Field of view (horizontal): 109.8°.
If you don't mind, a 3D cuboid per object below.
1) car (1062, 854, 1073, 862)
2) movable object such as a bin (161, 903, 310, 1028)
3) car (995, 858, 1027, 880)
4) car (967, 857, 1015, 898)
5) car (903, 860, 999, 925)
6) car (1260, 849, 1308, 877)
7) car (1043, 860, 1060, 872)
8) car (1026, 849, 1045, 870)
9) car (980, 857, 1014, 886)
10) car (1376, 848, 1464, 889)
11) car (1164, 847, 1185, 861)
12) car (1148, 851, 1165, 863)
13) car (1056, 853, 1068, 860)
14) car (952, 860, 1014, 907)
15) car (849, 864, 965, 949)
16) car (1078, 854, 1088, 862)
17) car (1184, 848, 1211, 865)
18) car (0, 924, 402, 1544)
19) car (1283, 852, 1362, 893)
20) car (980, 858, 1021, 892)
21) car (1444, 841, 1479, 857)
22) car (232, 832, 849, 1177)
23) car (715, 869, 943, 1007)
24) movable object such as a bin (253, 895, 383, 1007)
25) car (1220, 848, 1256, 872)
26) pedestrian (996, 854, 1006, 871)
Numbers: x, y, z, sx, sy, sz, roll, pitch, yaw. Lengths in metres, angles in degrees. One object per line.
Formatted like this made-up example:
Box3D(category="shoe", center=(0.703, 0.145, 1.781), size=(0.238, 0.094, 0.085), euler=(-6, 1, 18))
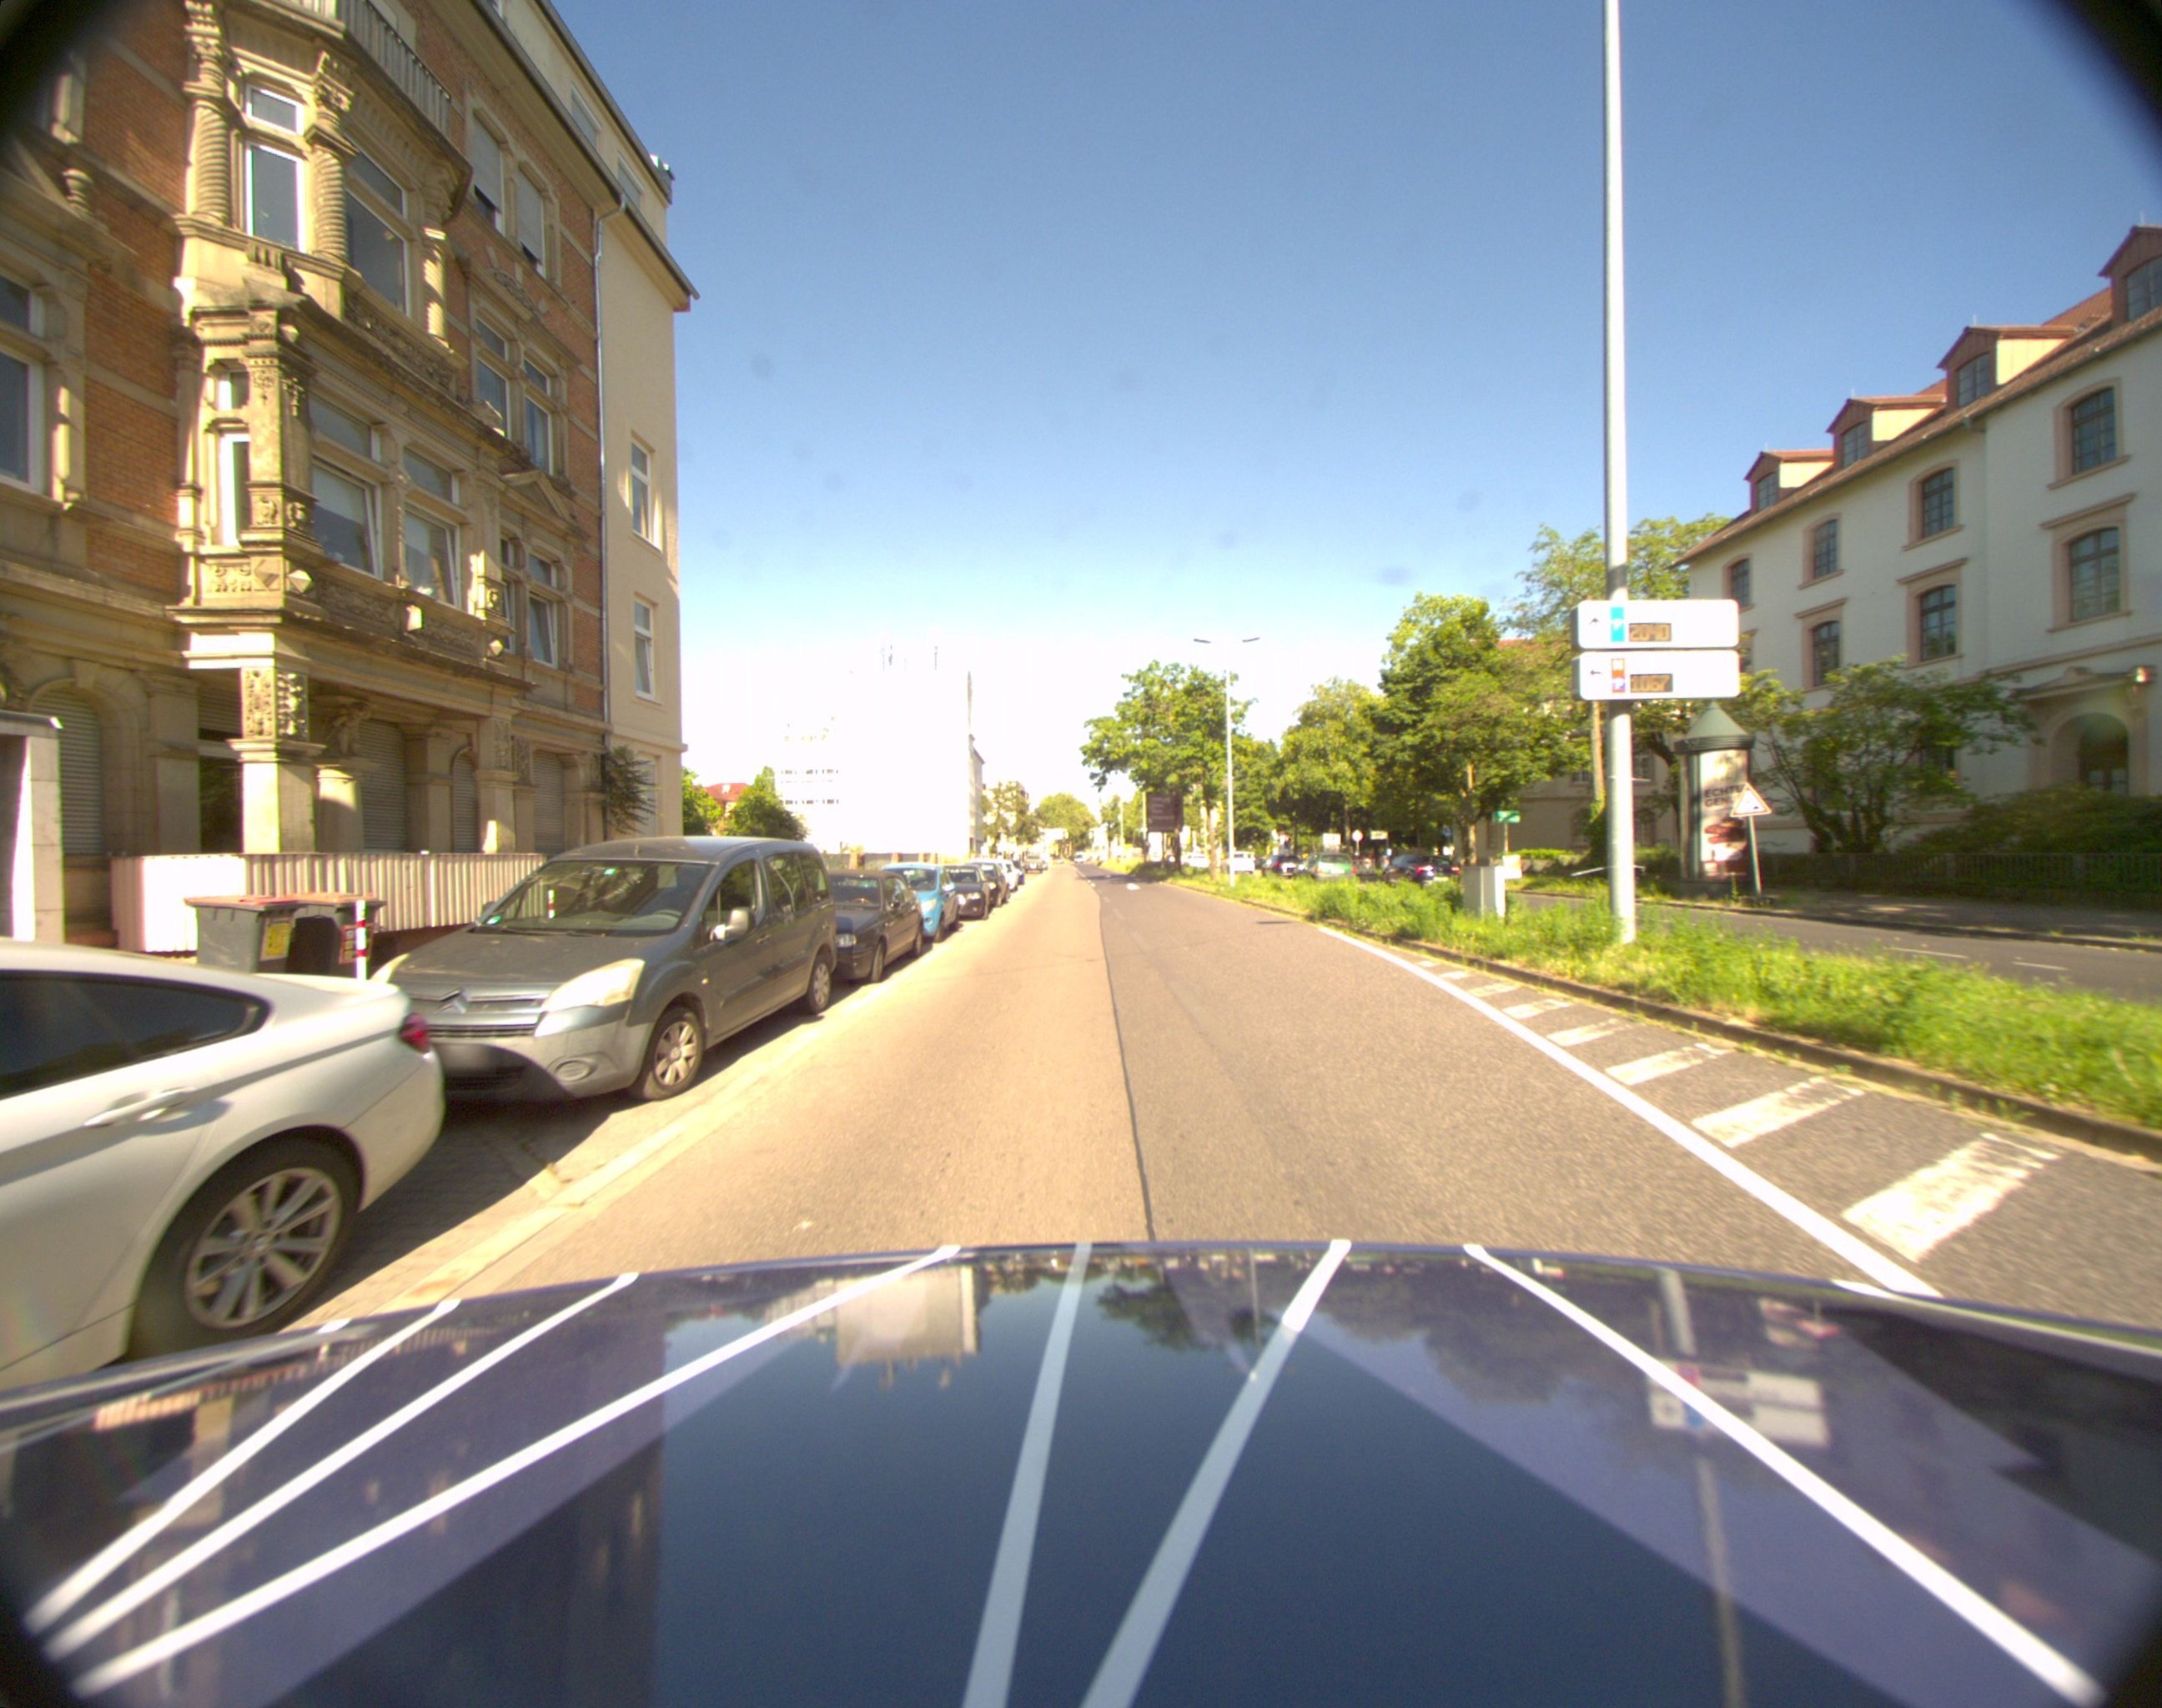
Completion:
Box3D(category="car", center=(-3.034, 0.805, 173.556), size=(1.882, 1.511, 3.999), euler=(-2, 3, 6))
Box3D(category="movable object such as a bin", center=(-8.647, 1.126, 7.799), size=(0.724, 1.150, 0.608), euler=(-2, 4, 1))
Box3D(category="car", center=(-4.123, 0.875, 45.377), size=(1.672, 1.175, 3.900), euler=(2, 0, -2))
Box3D(category="car", center=(-3.566, 0.888, 30.597), size=(1.673, 1.510, 3.660), euler=(-1, 0, -4))
Box3D(category="car", center=(-3.402, 0.943, 20.684), size=(1.940, 1.510, 4.483), euler=(-1, 0, -2))
Box3D(category="car", center=(11.640, 0.486, 43.740), size=(1.800, 1.510, 4.086), euler=(0, 1, 2))
Box3D(category="car", center=(-3.737, 1.493, 96.636), size=(1.641, 1.439, 4.158), euler=(-1, -1, 4))
Box3D(category="car", center=(-4.515, 0.510, 75.538), size=(1.664, 2.002, 4.775), euler=(0, 1, -1))
Box3D(category="car", center=(-4.467, 0.909, 40.856), size=(1.673, 1.451, 3.984), euler=(2, 0, -4))
Box3D(category="car", center=(13.742, 0.537, 31.101), size=(1.800, 1.510, 4.424), euler=(-2, 1, 3))
Box3D(category="car", center=(10.897, -0.021, 88.456), size=(1.800, 1.510, 4.256), euler=(-2, 2, -1))
Box3D(category="car", center=(10.481, 0.413, 105.464), size=(1.800, 1.510, 4.257), euler=(-2, 0, -2))
Box3D(category="car", center=(-4.097, 0.541, 164.805), size=(1.882, 1.510, 4.001), euler=(-2, 1, 6))
Box3D(category="car", center=(-3.232, 0.939, 25.633), size=(1.672, 1.385, 3.774), euler=(-1, 0, -2))
Box3D(category="car", center=(-3.448, 0.985, 15.609), size=(1.626, 1.462, 3.298), euler=(-3, 0, -1))
Box3D(category="car", center=(0.424, 0.821, 165.715), size=(1.882, 1.511, 3.999), euler=(-2, 3, 6))
Box3D(category="car", center=(11.044, 0.254, 72.551), size=(1.843, 1.510, 4.666), euler=(-1, 0, 0))
Box3D(category="car", center=(-3.524, 0.993, 0.882), size=(1.714, 1.417, 4.205), euler=(1, 0, 0))
Box3D(category="car", center=(9.535, 0.676, 30.332), size=(1.642, 1.510, 4.257), euler=(-1, 0, -2))
Box3D(category="car", center=(-3.715, 0.956, 35.561), size=(1.613, 1.437, 3.658), euler=(2, 0, -2))
Box3D(category="car", center=(44.291, -0.617, 88.552), size=(1.646, 1.484, 4.682), euler=(-2, 4, -1))
Box3D(category="car", center=(-3.567, 0.815, 6.250), size=(1.823, 1.833, 4.364), euler=(-1, 0, 2))
Box3D(category="car", center=(-3.283, 1.009, 10.858), size=(1.672, 1.459, 4.274), euler=(-2, 0, 2))
Box3D(category="movable object such as a bin", center=(-8.688, 1.092, 8.682), size=(0.760, 1.150, 0.608), euler=(-2, 4, 1))
Box3D(category="car", center=(11.397, 0.406, 55.276), size=(1.905, 1.616, 4.537), euler=(0, 0, 3))
Box3D(category="pedestrian", center=(-7.640, 0.776, 72.502), size=(0.745, 1.574, 0.896), euler=(-2, 1, -1))
